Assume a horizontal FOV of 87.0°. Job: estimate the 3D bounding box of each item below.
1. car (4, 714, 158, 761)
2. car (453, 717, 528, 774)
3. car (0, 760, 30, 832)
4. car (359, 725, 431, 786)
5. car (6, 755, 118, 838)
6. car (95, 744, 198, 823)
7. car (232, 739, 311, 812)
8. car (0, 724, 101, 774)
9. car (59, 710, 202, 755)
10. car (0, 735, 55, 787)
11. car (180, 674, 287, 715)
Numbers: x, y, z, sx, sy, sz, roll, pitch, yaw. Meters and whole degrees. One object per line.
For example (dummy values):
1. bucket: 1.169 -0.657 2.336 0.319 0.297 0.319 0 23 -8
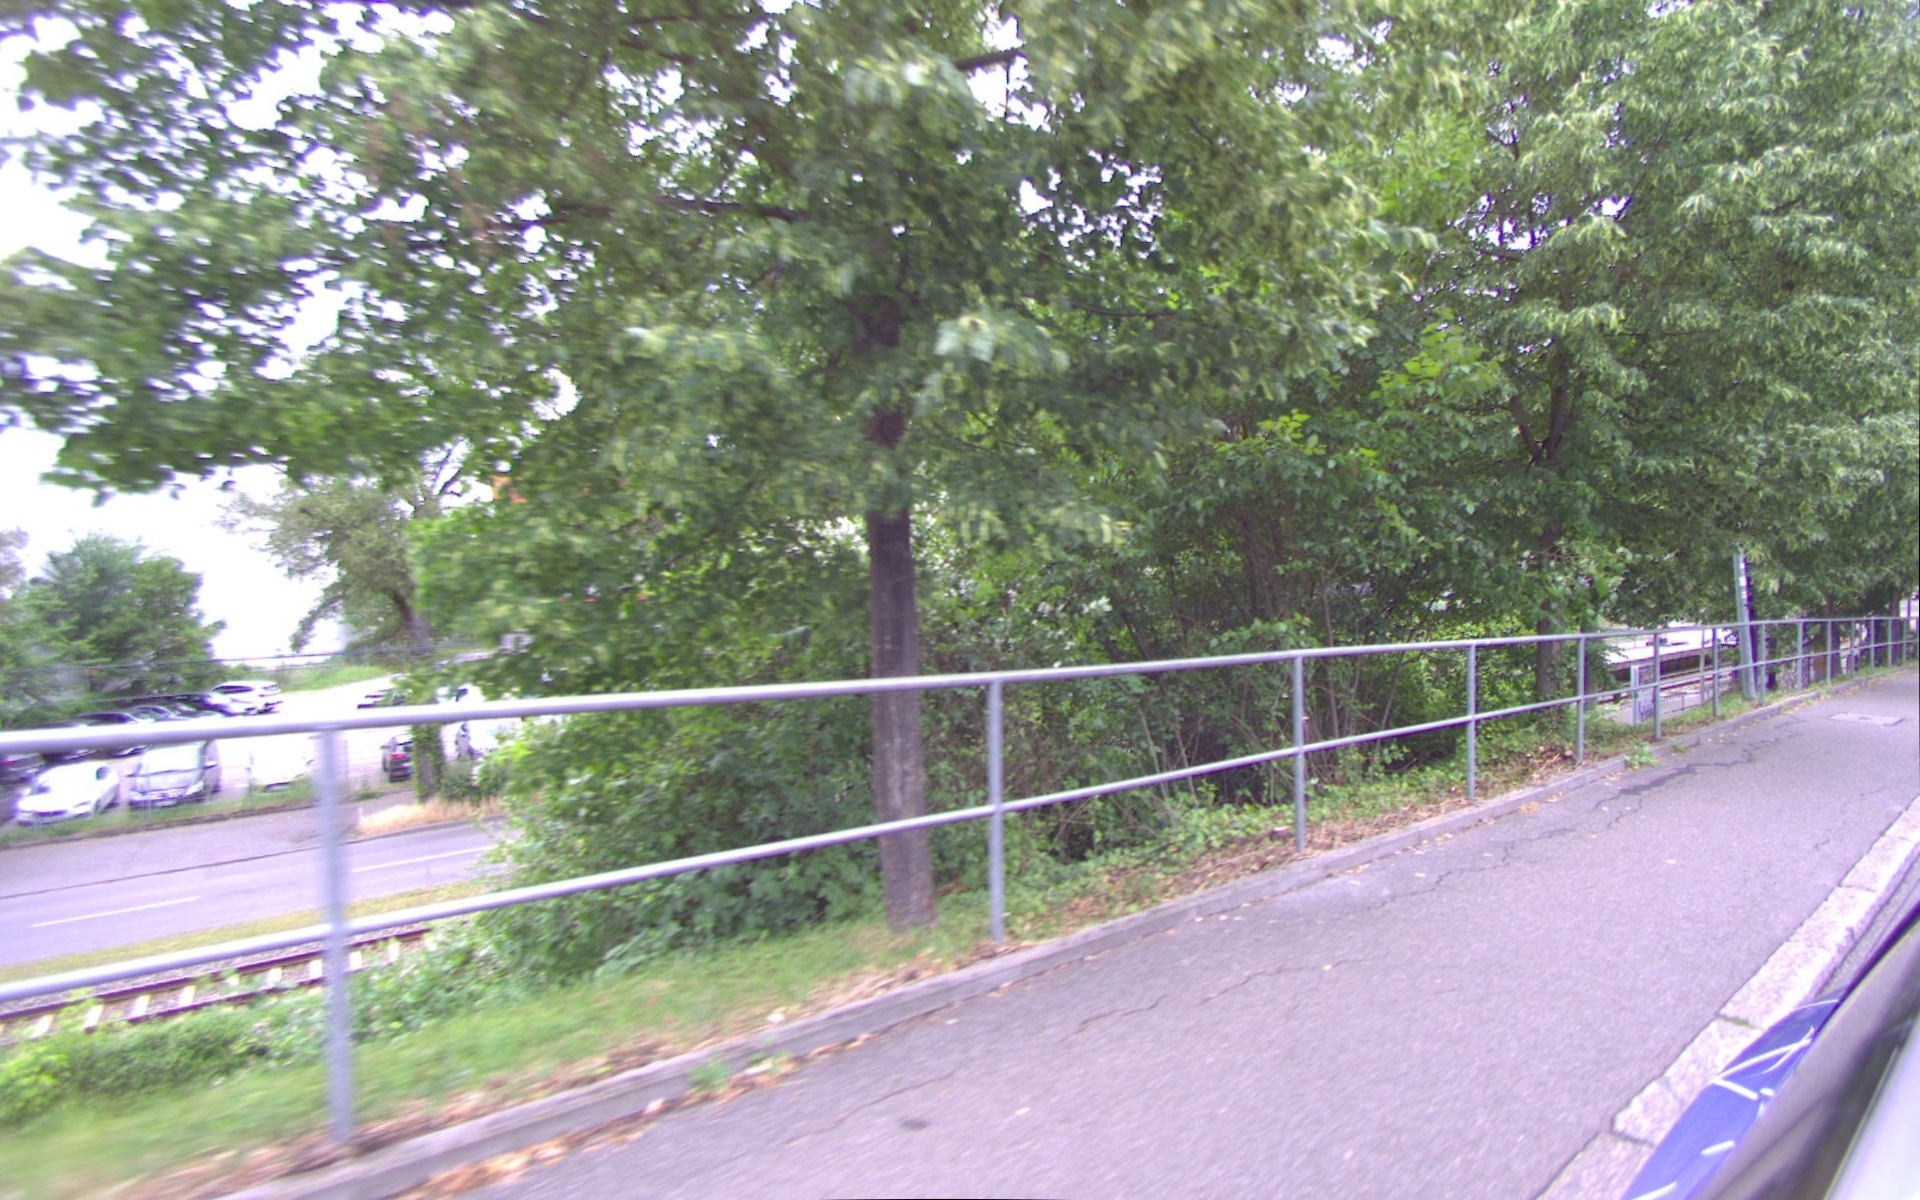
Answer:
1. car: -35.124 5.488 40.569 4.252 1.487 2.004 0 1 -12
2. car: -17.132 5.223 36.845 1.961 1.487 4.344 0 -2 -32
3. car: -28.550 5.789 29.167 1.790 1.524 4.346 0 1 -32
4. car: -19.501 5.281 34.860 1.961 1.487 4.344 0 -2 -32
5. car: -26.729 5.779 30.265 1.790 1.524 4.346 0 1 -32
6. car: -24.979 5.579 31.236 1.961 1.487 4.346 0 1 -32
7. car: -22.518 5.689 33.246 1.961 1.487 4.346 0 1 -32
8. car: -35.072 5.538 37.712 4.252 1.487 2.004 0 1 -12
9. car: -34.968 5.579 42.787 4.252 1.487 2.004 0 1 -12
10. car: -34.747 5.652 35.362 4.252 1.487 2.004 0 1 -12
11. car: -36.391 4.706 50.780 3.920 1.833 2.002 0 1 -5
